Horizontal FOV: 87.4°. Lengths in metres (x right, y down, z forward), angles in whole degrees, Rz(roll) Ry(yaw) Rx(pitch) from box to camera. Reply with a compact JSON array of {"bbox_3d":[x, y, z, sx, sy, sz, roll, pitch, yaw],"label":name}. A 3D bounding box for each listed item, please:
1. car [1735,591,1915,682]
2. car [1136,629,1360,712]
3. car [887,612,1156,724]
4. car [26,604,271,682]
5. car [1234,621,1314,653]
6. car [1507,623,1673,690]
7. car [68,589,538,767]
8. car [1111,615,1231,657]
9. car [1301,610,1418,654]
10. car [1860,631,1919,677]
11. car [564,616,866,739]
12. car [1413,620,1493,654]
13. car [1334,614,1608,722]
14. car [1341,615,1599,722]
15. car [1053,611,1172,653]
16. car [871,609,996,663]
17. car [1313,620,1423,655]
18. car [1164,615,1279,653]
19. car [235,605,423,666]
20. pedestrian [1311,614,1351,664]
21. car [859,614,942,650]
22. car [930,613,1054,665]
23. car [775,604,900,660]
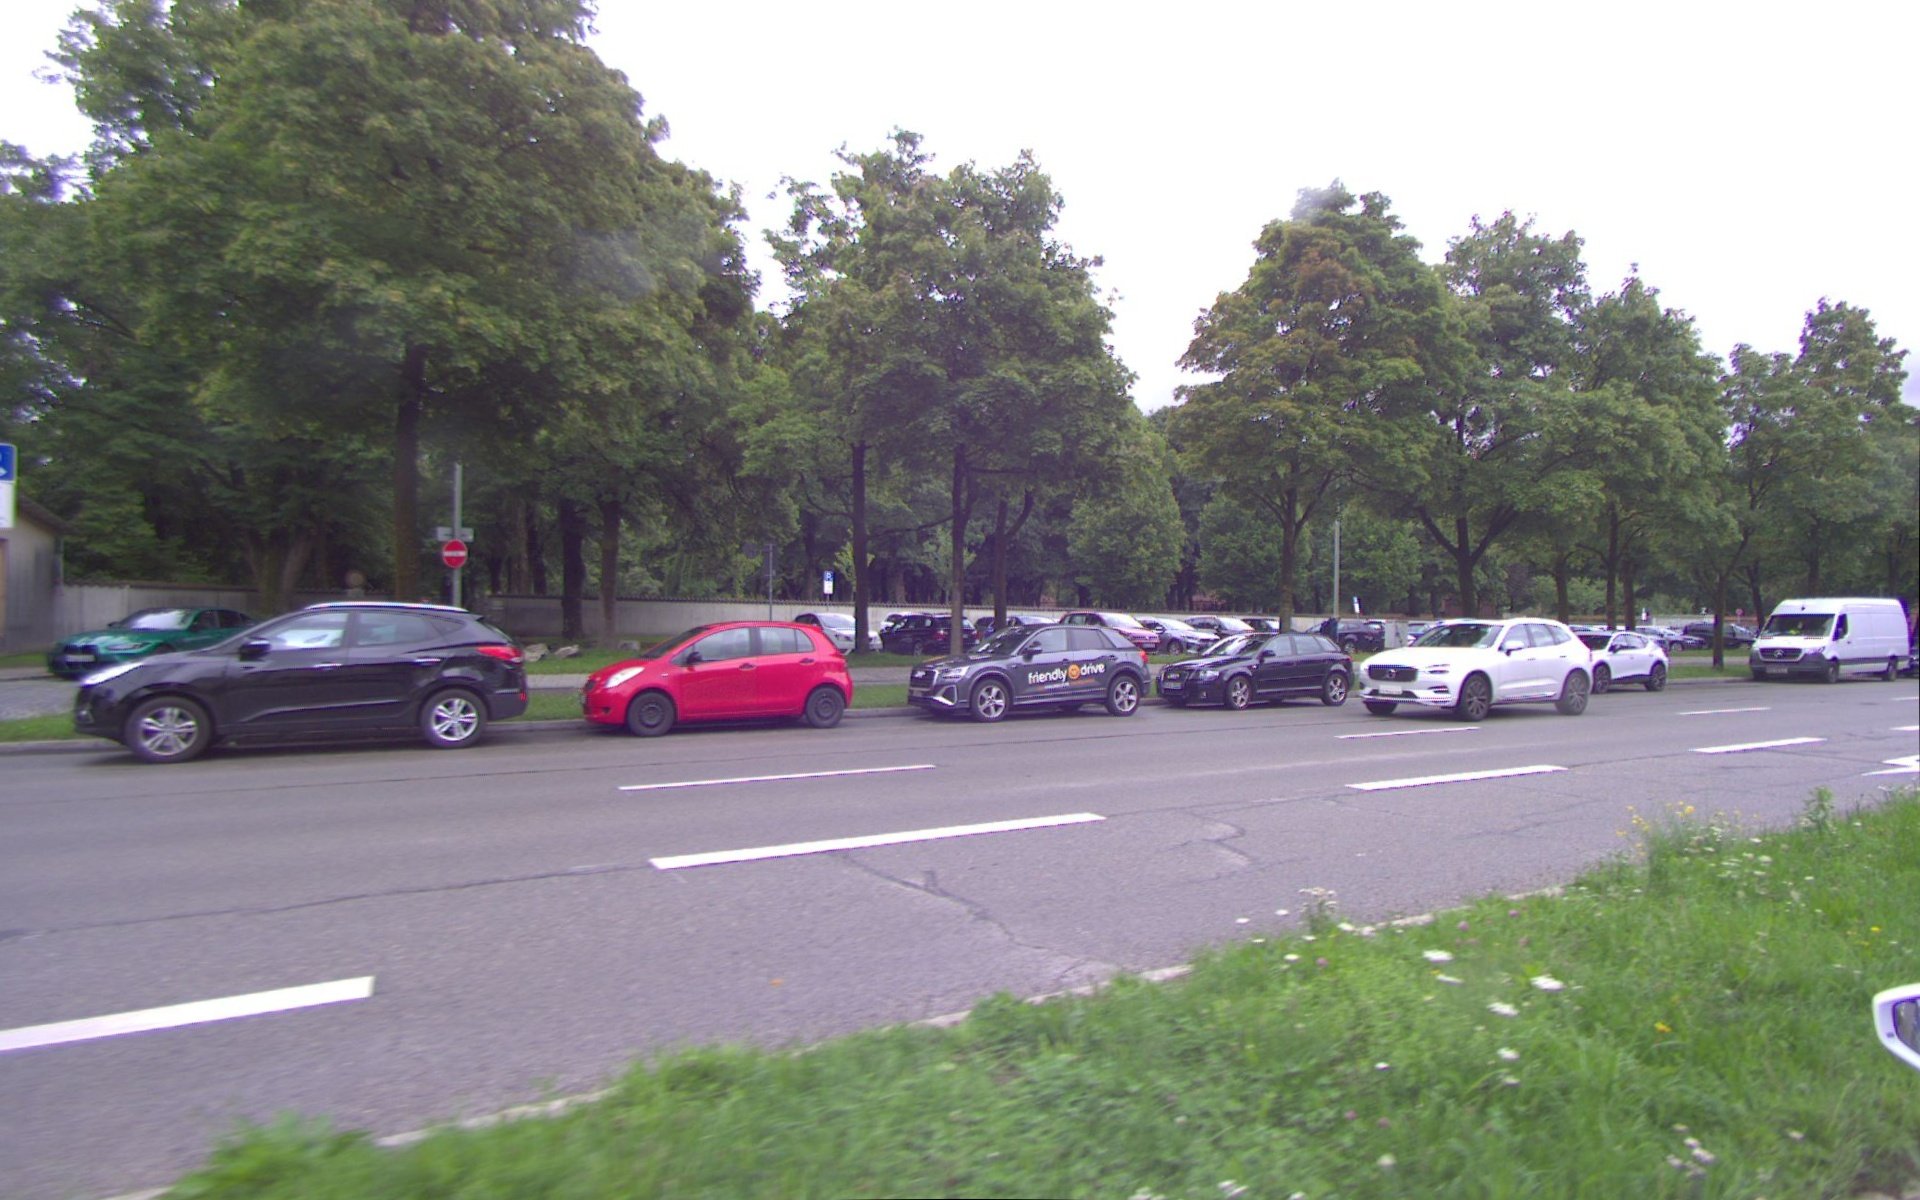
[{"bbox_3d":[27.745,1.154,32.139,7.020,2.678,2.130,1,-2,-30],"label":"car"},{"bbox_3d":[5.462,1.281,19.040,3.949,1.428,1.815,1,-2,-28],"label":"car"},{"bbox_3d":[1.037,1.047,16.433,4.062,1.620,1.814,1,-1,-29],"label":"car"},{"bbox_3d":[-16.434,0.815,20.625,1.822,1.428,3.860,1,-1,1],"label":"car"},{"bbox_3d":[16.947,1.958,54.379,1.750,1.617,3.967,1,-1,-31],"label":"car"},{"bbox_3d":[15.799,1.414,25.140,4.250,1.547,1.812,3,-3,-31],"label":"car"},{"bbox_3d":[-7.279,0.834,11.611,4.191,1.722,1.812,3,-1,-31],"label":"car"},{"bbox_3d":[7.223,1.213,34.746,1.724,1.301,3.960,1,-1,-36],"label":"car"},{"bbox_3d":[15.233,1.189,38.485,1.791,1.591,3.972,1,-1,-27],"label":"car"},{"bbox_3d":[34.191,1.934,35.917,4.204,1.510,1.848,3,-1,-31],"label":"car"},{"bbox_3d":[-3.432,1.047,14.213,3.767,1.499,1.812,3,-1,-31],"label":"car"},{"bbox_3d":[32.707,2.428,66.771,1.976,2.061,4.484,1,0,-30],"label":"car"},{"bbox_3d":[8.811,1.099,17.259,4.628,1.641,2.016,1,-2,-30],"label":"car"},{"bbox_3d":[8.729,1.118,17.125,4.350,1.621,1.843,1,-3,-30],"label":"car"},{"bbox_3d":[5.041,1.039,33.638,1.723,1.301,3.961,1,-1,-34],"label":"car"},{"bbox_3d":[-0.884,1.037,30.148,1.978,1.461,4.113,1,-1,-31],"label":"car"},{"bbox_3d":[16.780,1.518,41.474,1.794,1.356,3.966,1,-1,-31],"label":"car"},{"bbox_3d":[9.535,1.212,36.860,1.673,1.275,3.960,1,-1,-36],"label":"car"},{"bbox_3d":[-16.304,0.865,26.268,1.822,1.428,4.471,1,-1,5],"label":"car"},{"bbox_3d":[11.503,1.206,31.141,0.846,1.515,0.791,1,-1,-29],"label":"pedestrian"},{"bbox_3d":[-2.767,1.416,45.580,1.976,1.461,4.484,1,-1,-30],"label":"car"},{"bbox_3d":[0.956,1.196,31.934,1.980,1.461,3.961,1,-1,-34],"label":"car"},{"bbox_3d":[-3.598,0.880,28.938,1.980,1.461,3.961,1,-1,-34],"label":"car"}]
